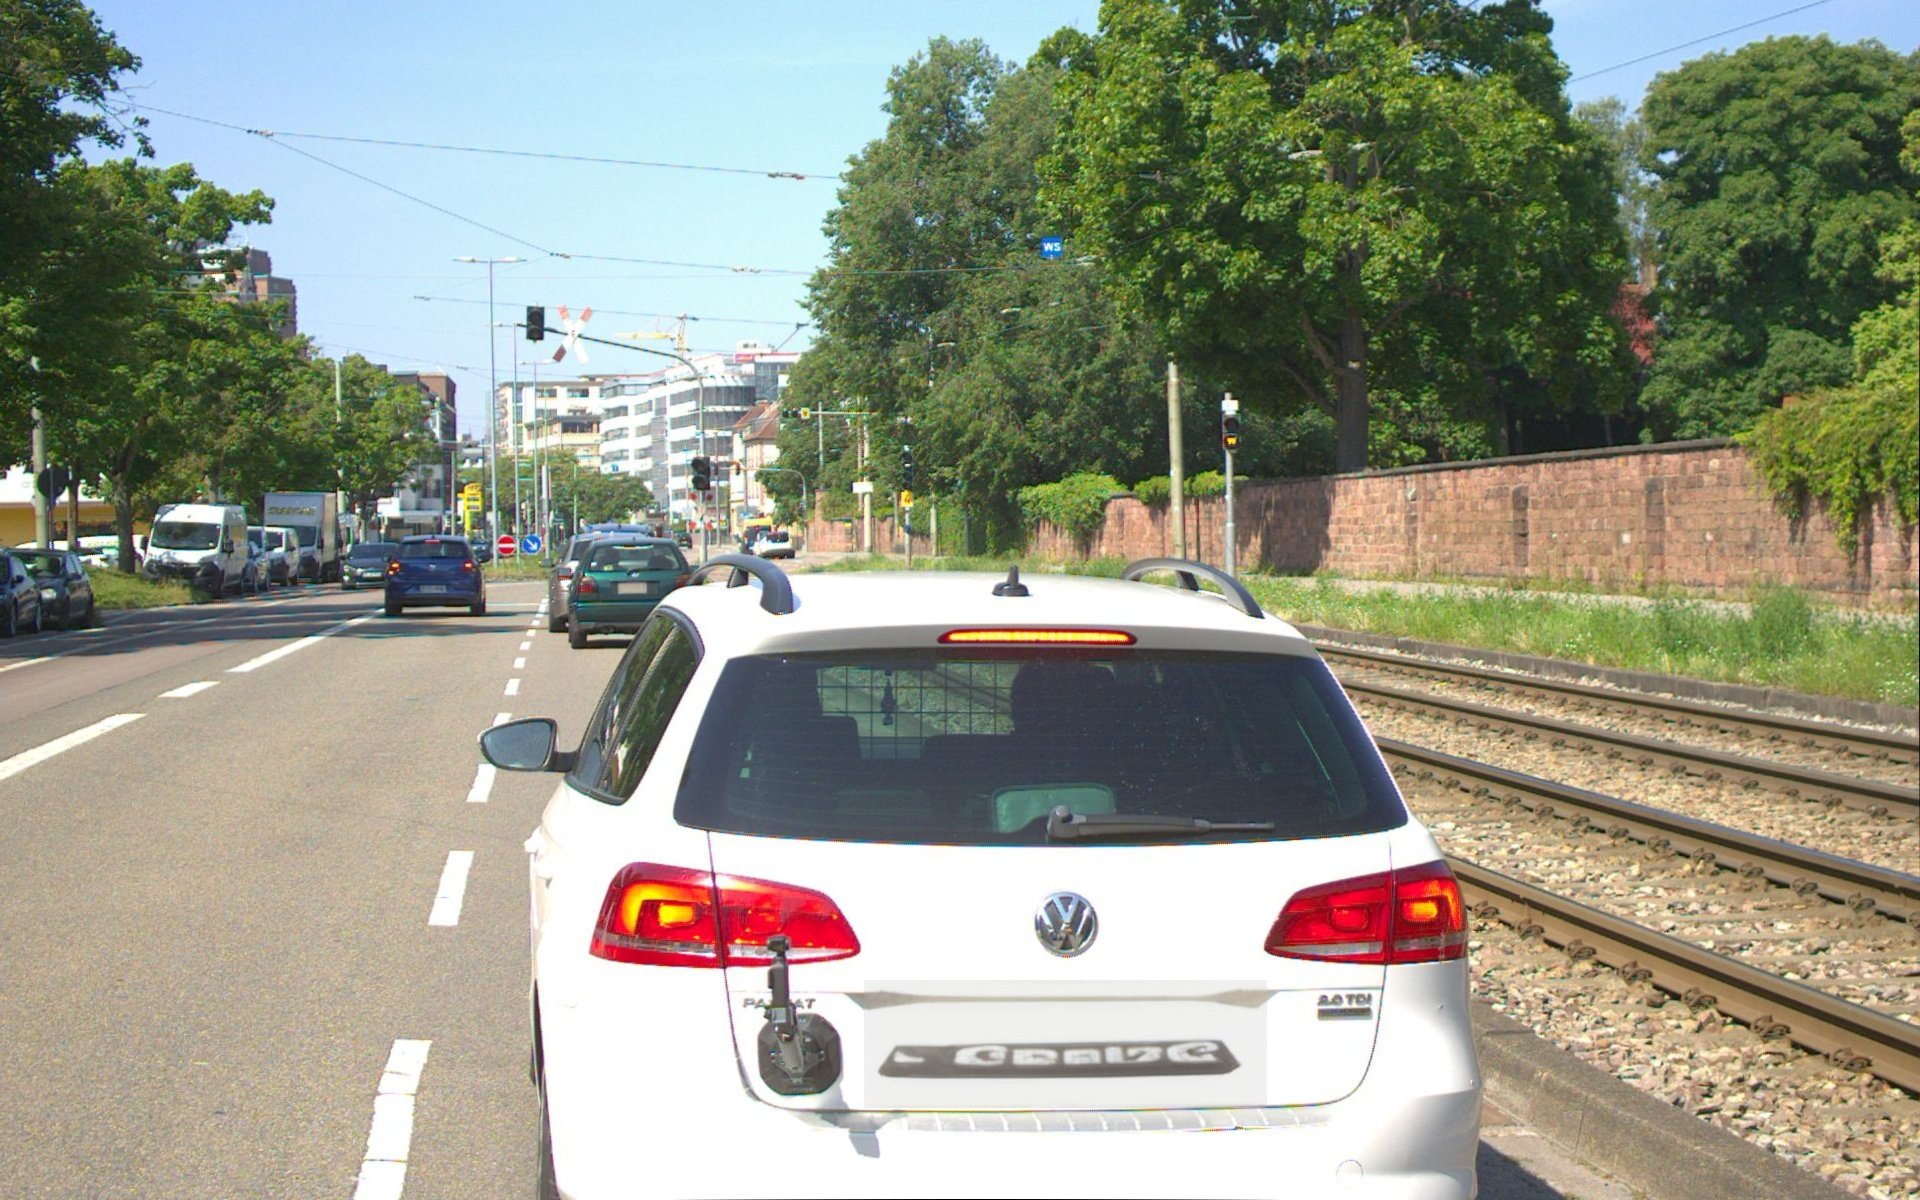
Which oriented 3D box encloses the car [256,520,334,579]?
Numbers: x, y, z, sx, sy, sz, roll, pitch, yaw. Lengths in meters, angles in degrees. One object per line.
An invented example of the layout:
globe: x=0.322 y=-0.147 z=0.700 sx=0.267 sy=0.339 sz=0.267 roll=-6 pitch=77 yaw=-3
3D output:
car: x=-21.789 y=-1.671 z=112.790 sx=1.826 sy=1.860 sz=4.725 roll=-1 pitch=1 yaw=-3

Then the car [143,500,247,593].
car: x=-20.499 y=-1.456 z=92.279 sx=1.880 sy=2.407 sz=5.117 roll=-1 pitch=1 yaw=-3

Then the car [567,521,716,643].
car: x=-4.202 y=-0.270 z=44.885 sx=1.800 sy=1.502 sz=4.001 roll=0 pitch=2 yaw=-7

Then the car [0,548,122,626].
car: x=-16.701 y=-0.255 z=63.417 sx=1.699 sy=1.347 sz=4.001 roll=-1 pitch=1 yaw=-3

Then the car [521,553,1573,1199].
car: x=-0.117 y=0.648 z=7.868 sx=1.691 sy=1.446 sz=4.460 roll=-1 pitch=1 yaw=-8

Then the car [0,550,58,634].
car: x=-16.577 y=-0.147 z=58.265 sx=1.699 sy=1.347 sz=4.001 roll=-1 pitch=1 yaw=-3

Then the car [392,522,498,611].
car: x=-9.301 y=-0.633 z=62.274 sx=1.800 sy=1.502 sz=4.001 roll=0 pitch=2 yaw=-7

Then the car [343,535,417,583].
car: x=-16.262 y=-1.163 z=96.534 sx=1.699 sy=1.268 sz=4.001 roll=-1 pitch=1 yaw=-5

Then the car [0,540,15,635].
car: x=-15.849 y=-0.156 z=52.883 sx=1.699 sy=1.477 sz=4.001 roll=-1 pitch=1 yaw=-3

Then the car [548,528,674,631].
car: x=-5.288 y=-0.344 z=51.725 sx=1.800 sy=1.455 sz=4.001 roll=0 pitch=2 yaw=-7
